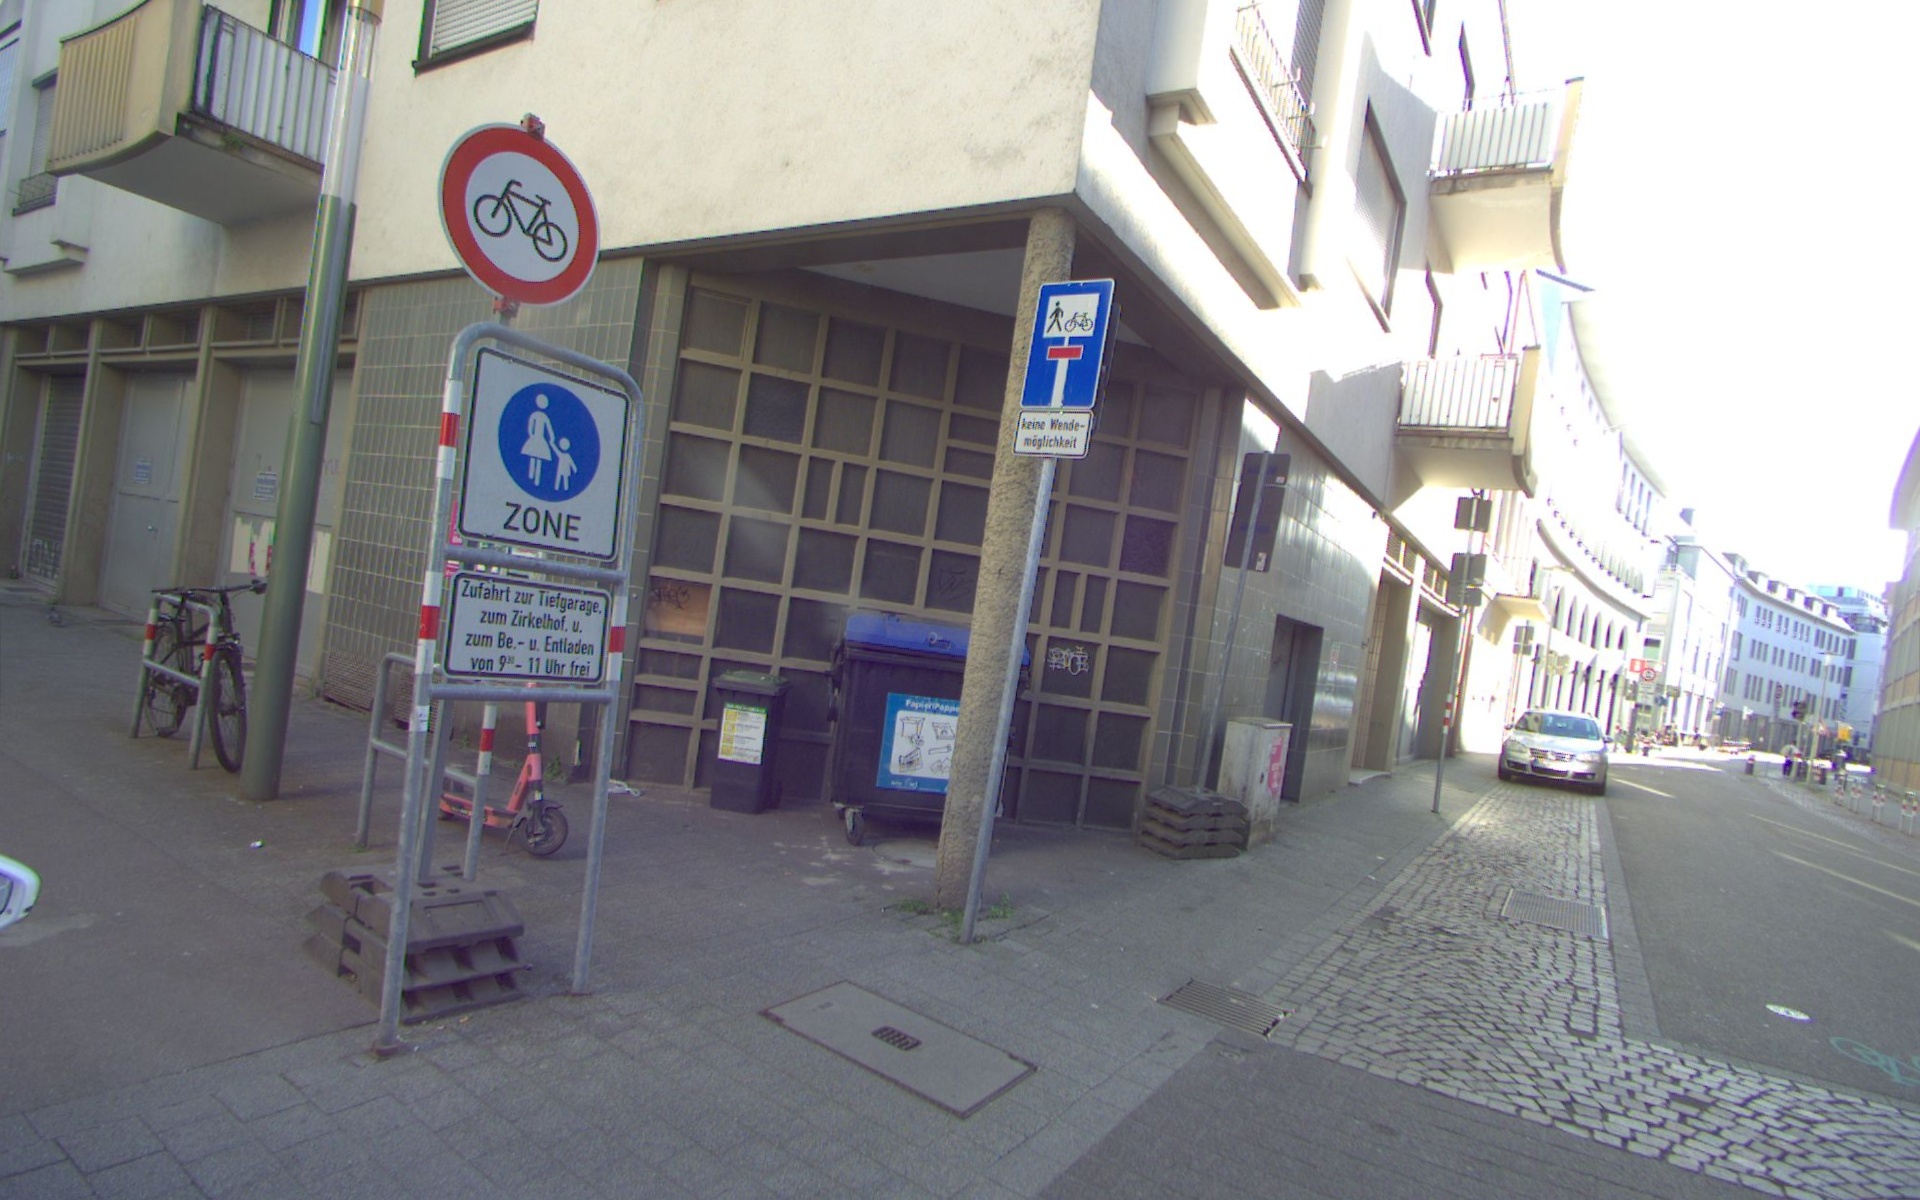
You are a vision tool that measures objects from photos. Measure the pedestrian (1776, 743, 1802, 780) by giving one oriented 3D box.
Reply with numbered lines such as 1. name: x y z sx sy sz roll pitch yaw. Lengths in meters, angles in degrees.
1. pedestrian: 35.576 6.932 43.177 0.649 1.458 0.594 8 0 35

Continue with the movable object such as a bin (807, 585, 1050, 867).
1. movable object such as a bin: -0.270 0.803 6.856 1.271 1.609 1.152 8 1 -12

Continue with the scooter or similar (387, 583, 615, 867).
1. scooter or similar: -2.444 0.615 5.314 1.218 1.268 0.307 7 0 30

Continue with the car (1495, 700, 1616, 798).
1. car: 11.675 2.818 19.641 1.742 1.487 3.805 6 -2 33

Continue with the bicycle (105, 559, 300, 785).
1. bicycle: -4.705 0.397 6.204 1.684 1.153 0.446 6 -1 38

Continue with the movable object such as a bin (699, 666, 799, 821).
1. movable object such as a bin: -1.451 0.968 6.890 0.533 0.935 0.512 7 0 -14
